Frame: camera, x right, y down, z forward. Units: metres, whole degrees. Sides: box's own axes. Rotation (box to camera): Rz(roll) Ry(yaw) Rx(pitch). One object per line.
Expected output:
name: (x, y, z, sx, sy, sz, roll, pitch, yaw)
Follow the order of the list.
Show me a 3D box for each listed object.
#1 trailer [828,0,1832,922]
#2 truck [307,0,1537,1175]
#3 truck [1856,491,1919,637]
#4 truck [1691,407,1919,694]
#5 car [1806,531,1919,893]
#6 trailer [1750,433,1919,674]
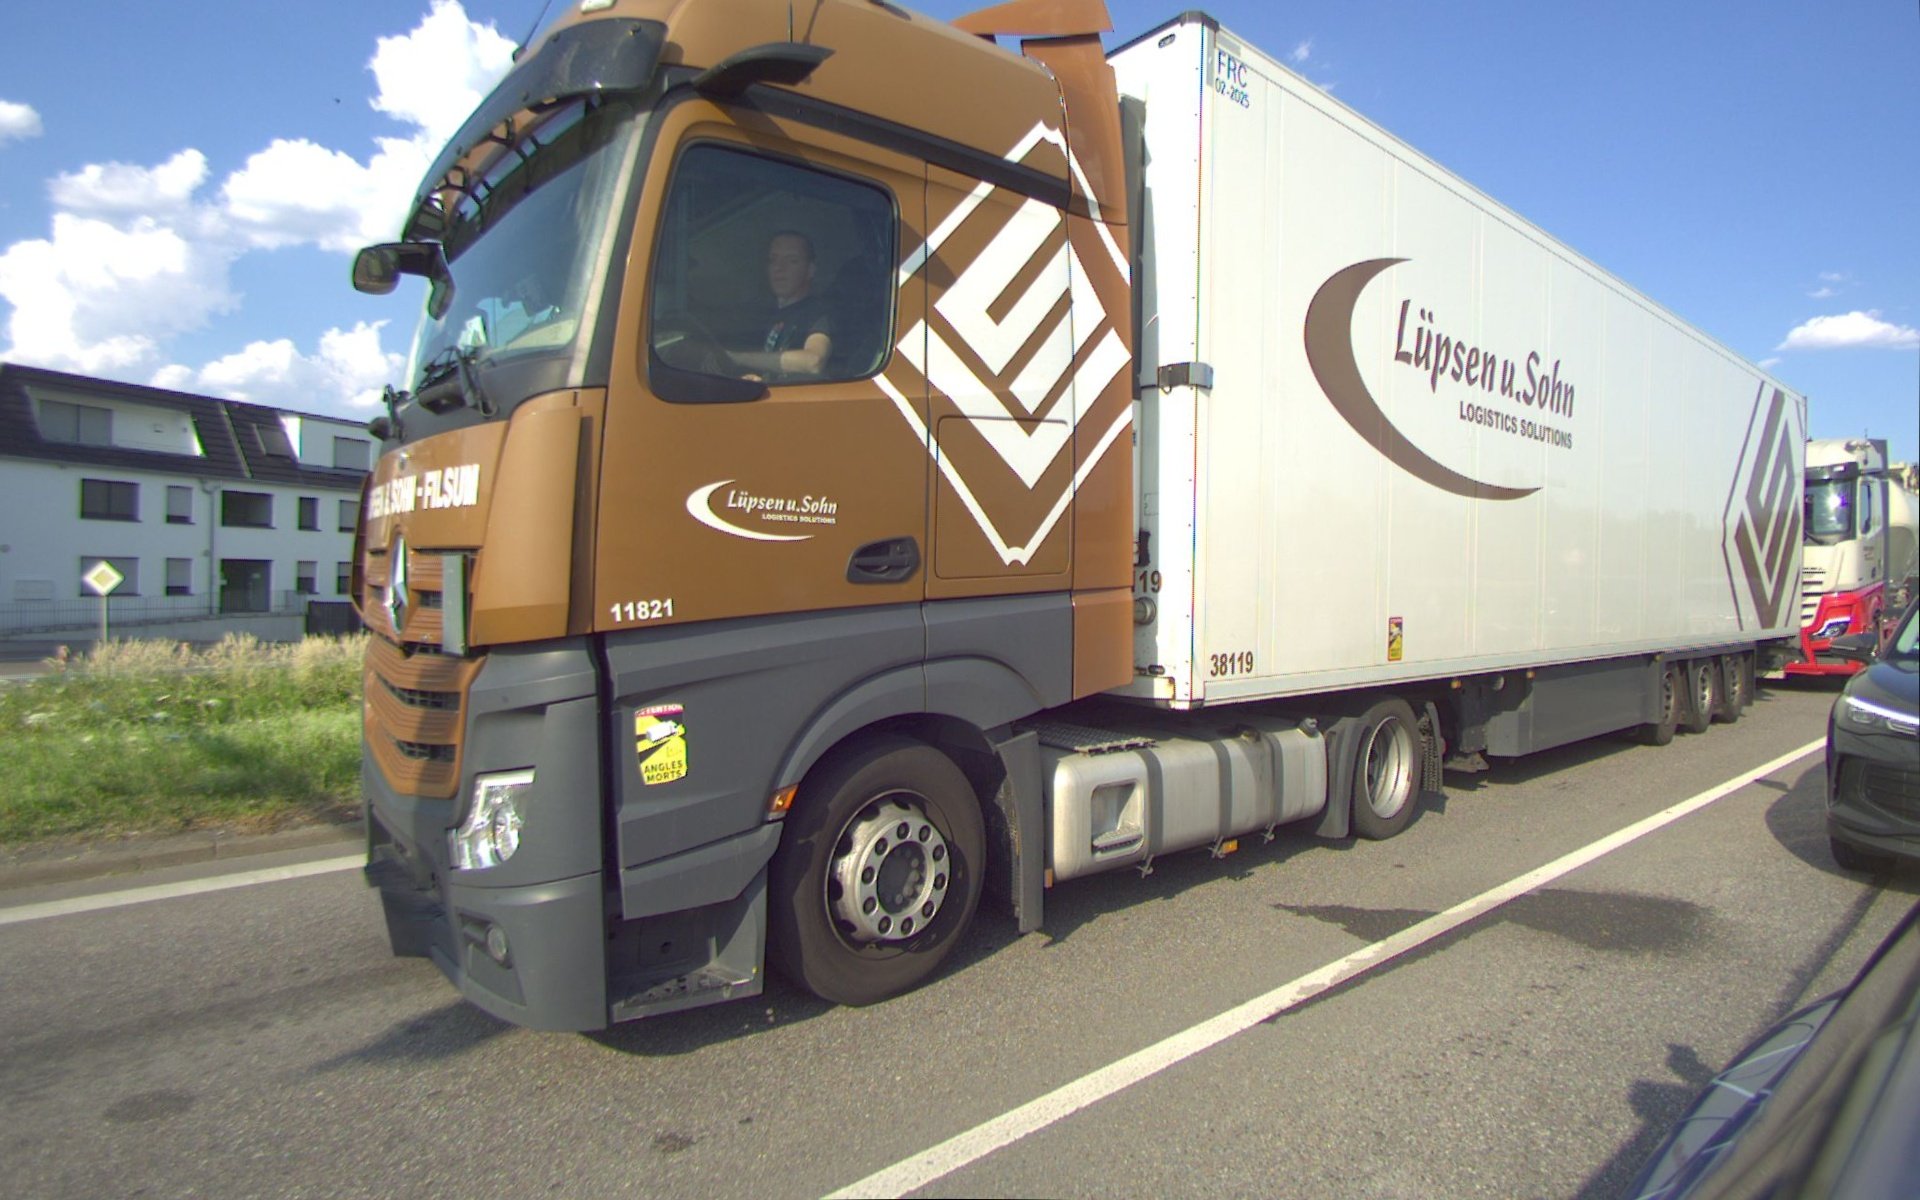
trailer: (5.357, -0.784, 9.766, 14.083, 4.118, 2.536, -1, 0, -41)
truck: (0.476, -0.716, 5.536, 6.544, 4.094, 2.537, -1, 1, -40)
truck: (30.042, -1.045, 30.674, 12.672, 3.821, 2.527, -1, 1, -40)
truck: (13.902, -0.717, 16.263, 5.587, 3.853, 2.259, -1, 1, -41)
car: (6.392, 0.475, 5.571, 4.387, 1.649, 1.788, -1, 1, -38)
trailer: (18.134, -0.794, 19.936, 9.359, 3.825, 2.262, -1, 0, -41)
